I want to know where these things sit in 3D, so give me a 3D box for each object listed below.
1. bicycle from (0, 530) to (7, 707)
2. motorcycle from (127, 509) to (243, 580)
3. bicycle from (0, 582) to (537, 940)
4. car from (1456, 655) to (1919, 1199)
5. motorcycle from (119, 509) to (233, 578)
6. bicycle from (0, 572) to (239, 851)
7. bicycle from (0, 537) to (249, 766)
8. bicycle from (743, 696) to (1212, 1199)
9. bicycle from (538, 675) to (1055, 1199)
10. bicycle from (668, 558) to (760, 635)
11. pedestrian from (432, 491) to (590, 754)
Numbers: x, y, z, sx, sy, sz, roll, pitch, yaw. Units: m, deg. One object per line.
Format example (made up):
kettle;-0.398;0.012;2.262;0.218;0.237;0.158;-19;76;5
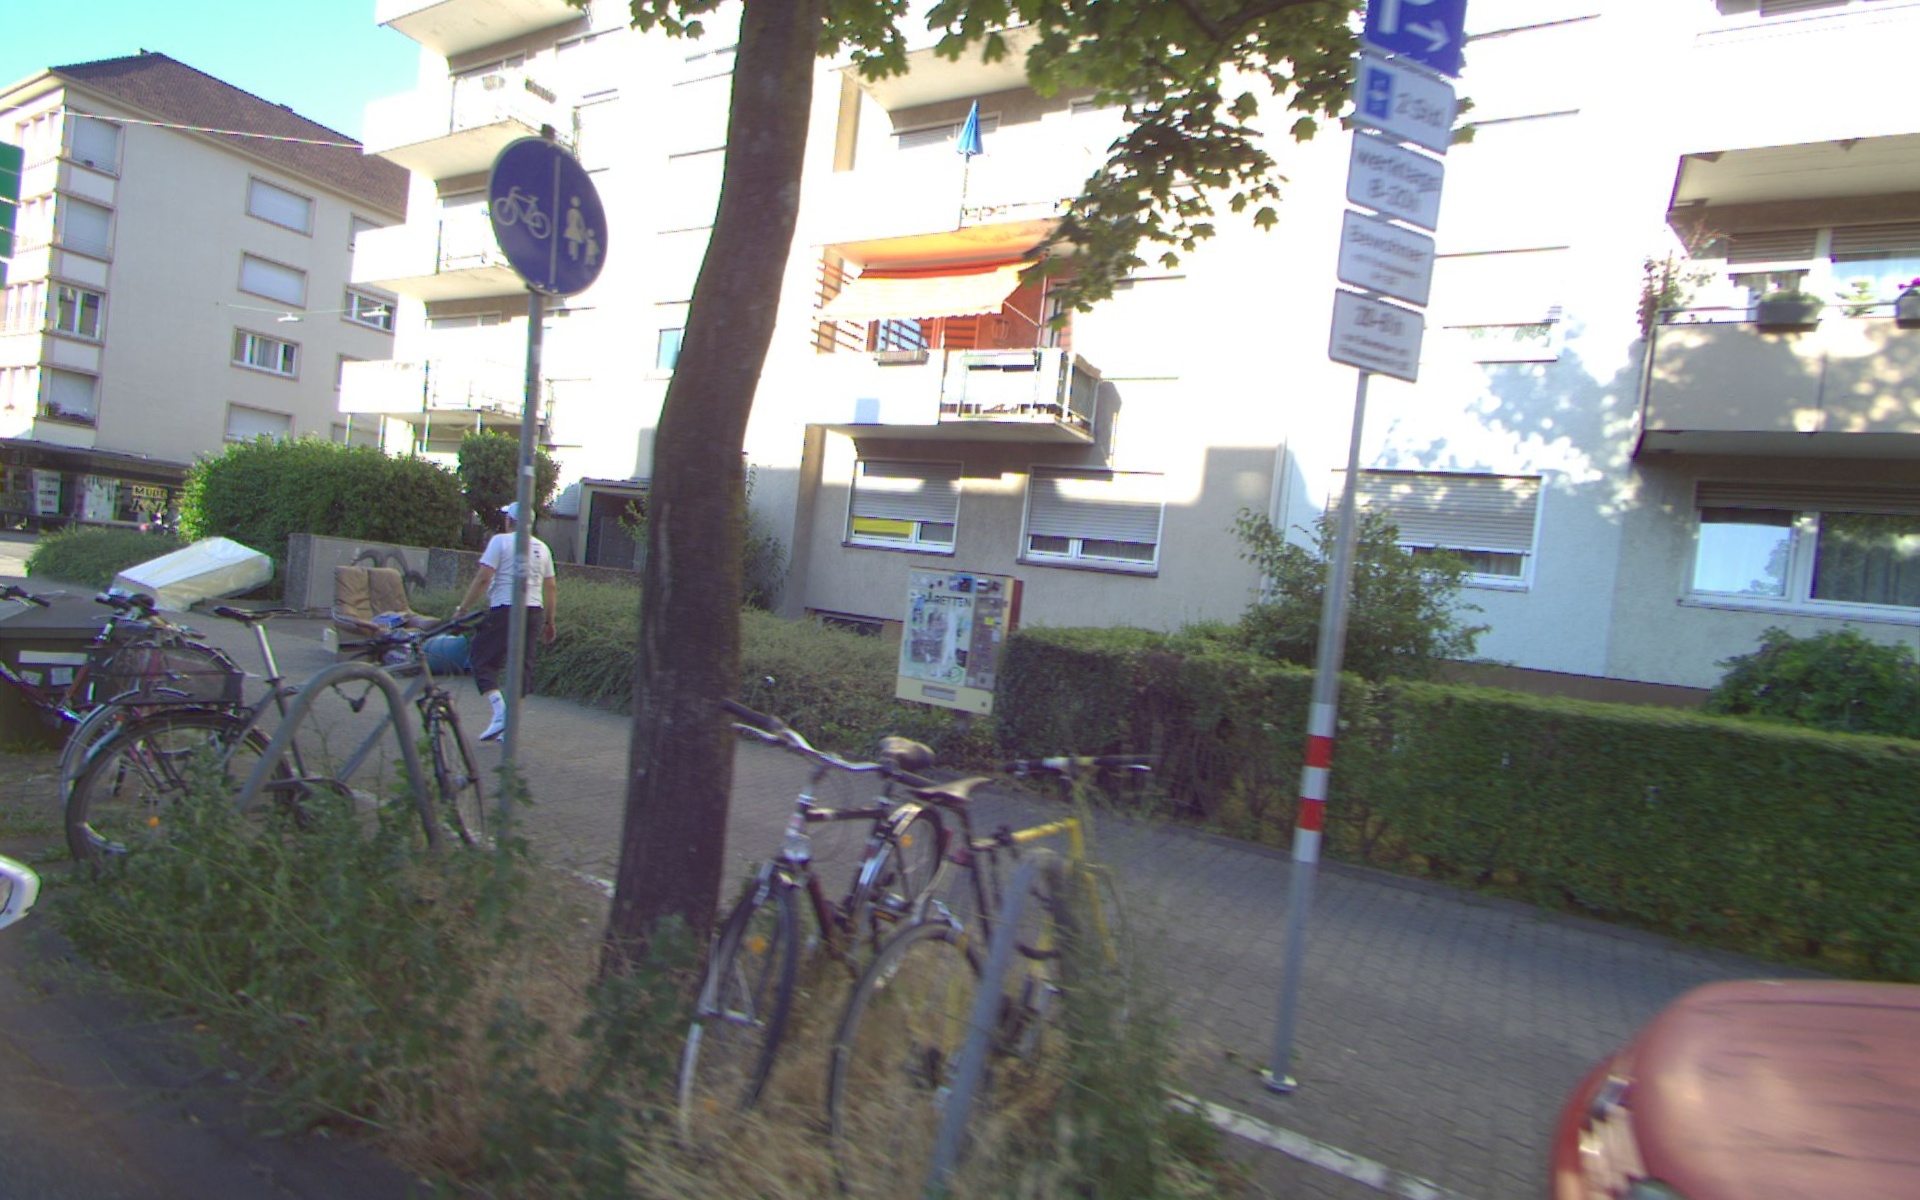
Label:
bicycle;-7.221;0.034;6.767;1.924;1.163;0.502;6;3;25
motorcycle;-17.725;-1.262;23.063;0.683;1.379;1.914;7;1;35
bicycle;-2.663;0.542;4.055;0.509;1.122;1.684;7;3;37
car;2.743;1.032;0.899;3.950;1.469;1.702;7;2;35
motorcycle;-18.397;-1.302;23.648;0.683;1.379;1.914;7;1;35
bicycle;-3.946;0.458;4.831;0.614;1.064;1.560;6;1;-32
bicycle;-5.139;0.260;5.558;0.673;1.173;1.832;7;3;37
bicycle;0.171;0.847;2.641;0.385;1.117;1.572;7;0;32
bicycle;-0.346;0.808;2.962;0.493;1.117;1.572;7;0;32
bicycle;-4.386;-0.078;17.888;1.766;1.198;0.356;7;1;32
pedestrian;-3.264;0.144;7.306;0.760;1.772;0.662;7;3;37
